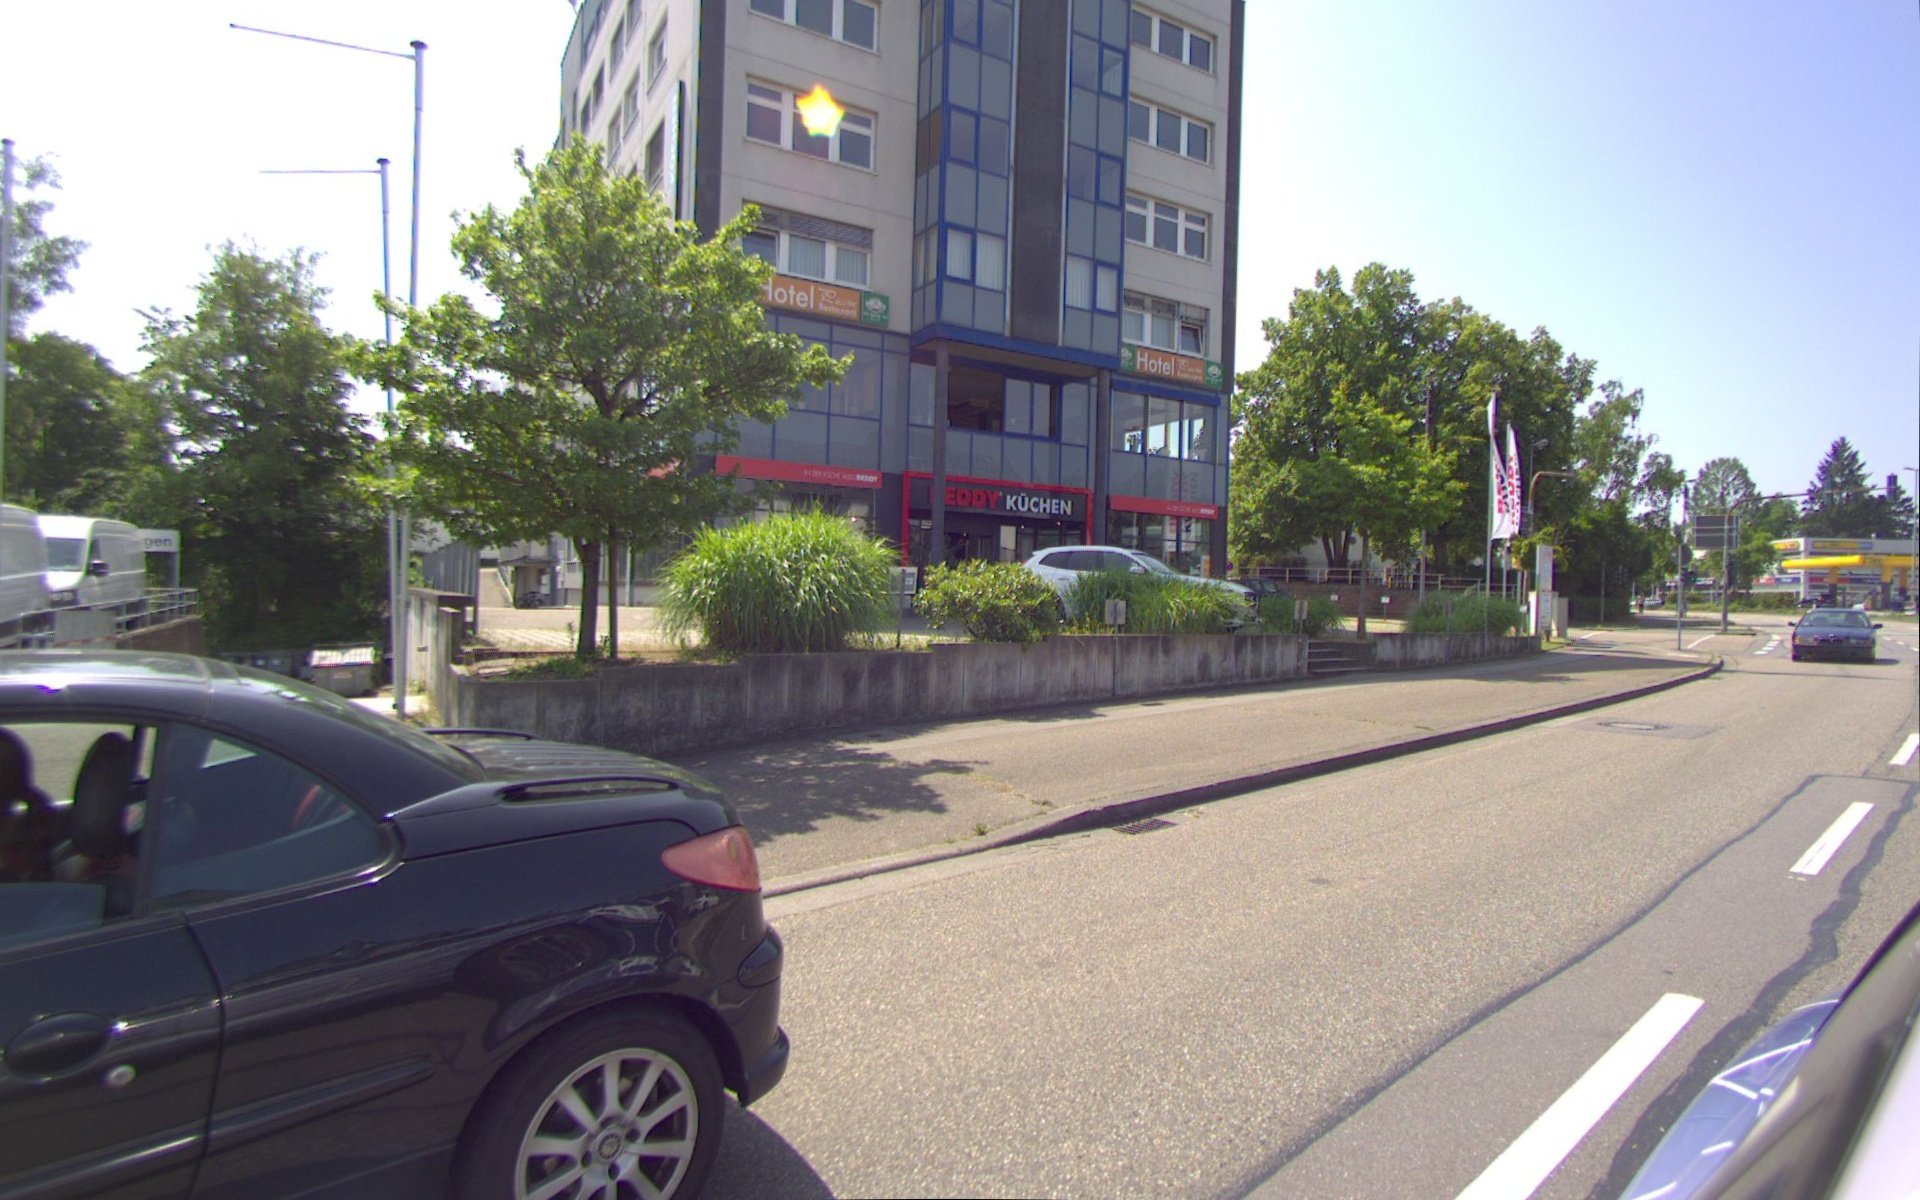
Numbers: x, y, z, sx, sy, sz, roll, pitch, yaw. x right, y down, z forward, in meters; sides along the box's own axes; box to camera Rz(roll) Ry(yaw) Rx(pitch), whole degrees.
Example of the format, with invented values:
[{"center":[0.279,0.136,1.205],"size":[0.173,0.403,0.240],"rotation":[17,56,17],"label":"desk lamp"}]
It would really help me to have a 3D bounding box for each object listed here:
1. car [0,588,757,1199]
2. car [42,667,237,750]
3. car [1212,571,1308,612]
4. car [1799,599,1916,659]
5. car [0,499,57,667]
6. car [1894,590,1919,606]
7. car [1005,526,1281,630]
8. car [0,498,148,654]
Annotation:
[{"center":[-2.343,0.716,1.792],"size":[3.598,1.443,1.602],"rotation":[1,-2,-42],"label":"car"},{"center":[-22.354,2.895,27.791],"size":[3.922,1.794,2.001],"rotation":[-1,0,-32],"label":"car"},{"center":[12.821,-0.358,43.170],"size":[4.244,1.696,1.544],"rotation":[0,0,-33],"label":"car"},{"center":[23.472,0.704,26.430],"size":[3.928,1.390,1.697],"rotation":[-1,1,-39],"label":"car"},{"center":[-15.806,-0.245,15.353],"size":[2.078,2.560,5.909],"rotation":[-1,0,-31],"label":"car"},{"center":[97.448,-0.260,103.079],"size":[1.634,1.562,4.191],"rotation":[-1,0,17],"label":"car"},{"center":[3.374,-0.359,18.931],"size":[4.700,1.735,1.979],"rotation":[-1,0,31],"label":"car"},{"center":[-18.737,-0.436,21.247],"size":[1.961,2.845,6.139],"rotation":[-1,0,-33],"label":"car"}]
